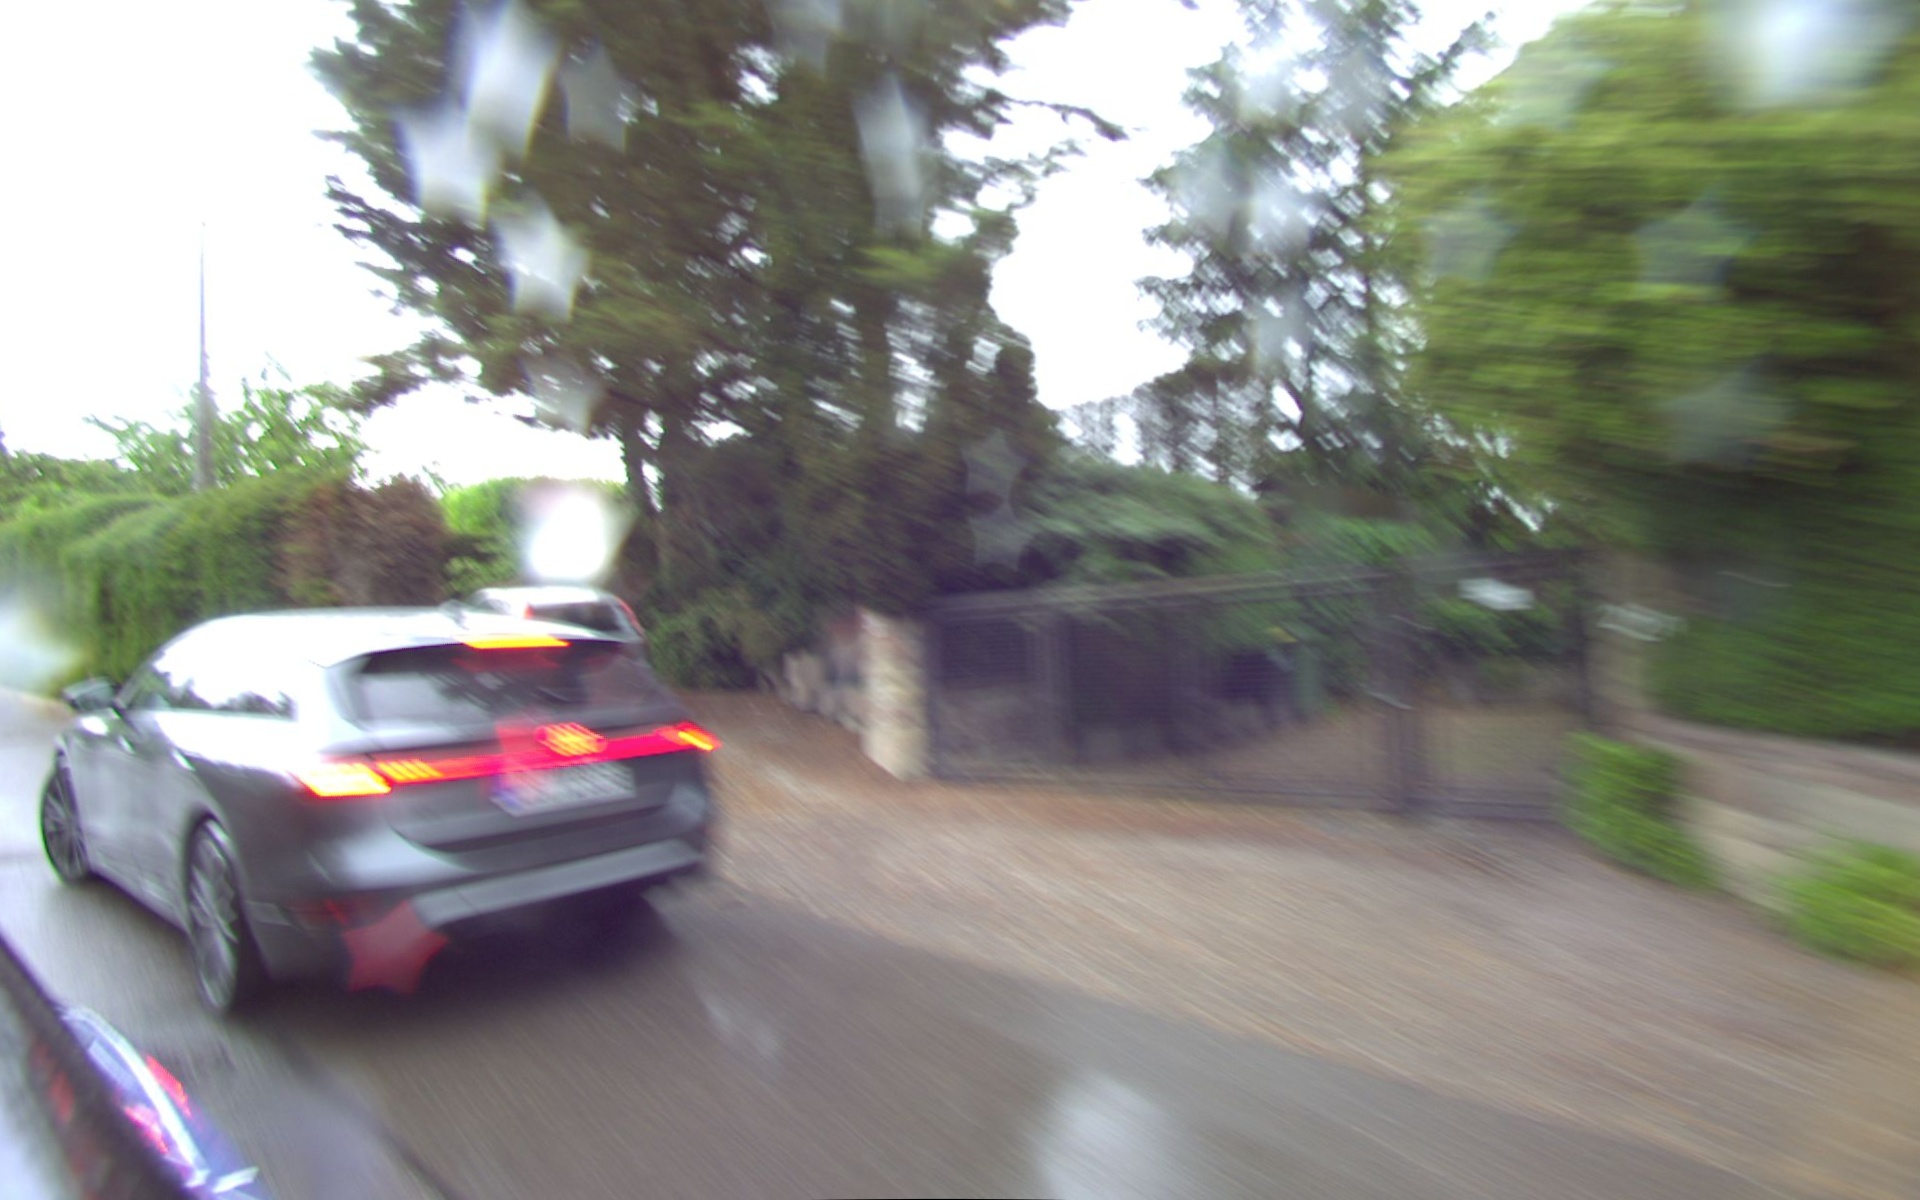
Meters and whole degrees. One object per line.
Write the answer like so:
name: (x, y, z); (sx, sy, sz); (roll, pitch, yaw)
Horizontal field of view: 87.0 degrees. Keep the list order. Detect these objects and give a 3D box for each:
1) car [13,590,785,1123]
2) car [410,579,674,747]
car: (-3.068, 0.772, 5.078); (4.417, 1.535, 1.870); (-1, 0, 39)
car: (-5.094, 0.596, 12.099); (1.763, 1.537, 3.662); (-5, 5, -41)
